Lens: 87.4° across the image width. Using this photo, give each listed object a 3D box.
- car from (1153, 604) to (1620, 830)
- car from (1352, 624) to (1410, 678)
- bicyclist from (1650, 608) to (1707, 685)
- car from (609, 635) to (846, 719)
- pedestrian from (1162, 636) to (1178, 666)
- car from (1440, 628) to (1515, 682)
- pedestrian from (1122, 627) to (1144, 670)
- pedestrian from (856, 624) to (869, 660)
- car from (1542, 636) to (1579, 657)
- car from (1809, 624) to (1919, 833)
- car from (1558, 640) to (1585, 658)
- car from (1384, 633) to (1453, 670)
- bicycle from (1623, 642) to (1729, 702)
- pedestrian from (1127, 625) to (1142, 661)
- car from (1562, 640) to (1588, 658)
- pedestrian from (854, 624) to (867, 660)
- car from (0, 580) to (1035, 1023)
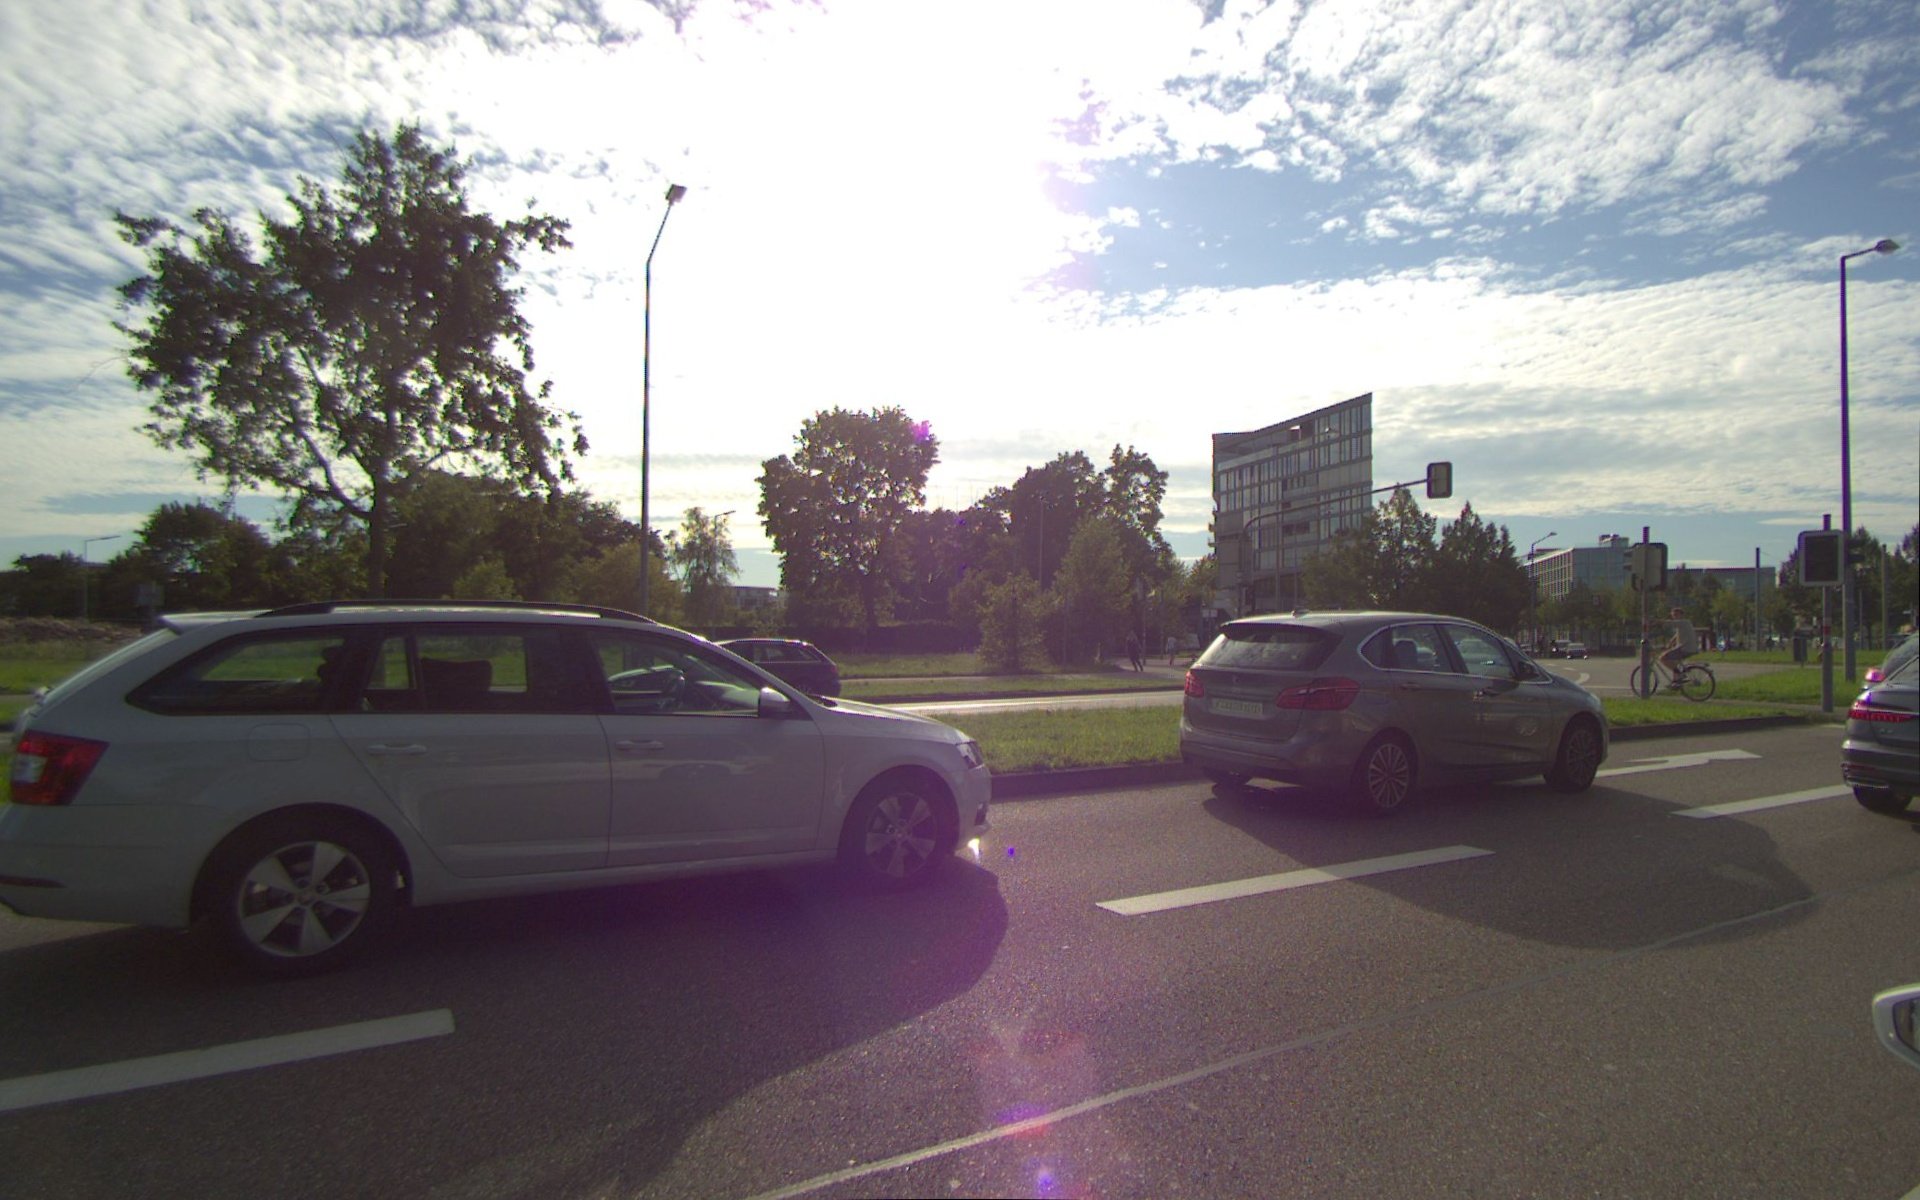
[{"bbox_3d":[3.782,0.872,8.771,3.971,1.579,1.721,2,-1,-30],"label":"car"},{"bbox_3d":[14.881,1.775,35.658,1.678,1.793,4.000,0,-2,20],"label":"car"},{"bbox_3d":[14.832,0.948,20.737,0.840,1.546,0.736,-2,-3,44],"label":"bicyclist"},{"bbox_3d":[-4.550,1.477,19.761,4.180,1.452,1.899,1,-4,-32],"label":"car"},{"bbox_3d":[11.187,2.712,53.473,0.607,1.589,0.653,1,-2,-23],"label":"pedestrian"},{"bbox_3d":[16.380,1.722,31.693,1.682,1.594,3.990,-3,-3,32],"label":"car"},{"bbox_3d":[6.731,1.880,39.020,0.582,1.602,0.579,5,2,33],"label":"pedestrian"},{"bbox_3d":[-5.543,2.370,57.314,0.723,2.040,0.739,0,-2,-6],"label":"pedestrian"},{"bbox_3d":[47.597,3.648,79.617,1.767,1.595,3.978,-2,-3,42],"label":"car"},{"bbox_3d":[9.074,1.005,8.209,4.559,1.502,1.881,2,-1,-31],"label":"car"},{"bbox_3d":[58.421,4.662,95.950,1.680,1.713,3.998,-1,-2,24],"label":"car"},{"bbox_3d":[21.009,2.376,46.192,1.562,1.613,3.502,-1,-3,1],"label":"car"},{"bbox_3d":[14.778,1.466,20.772,1.707,1.179,0.652,-1,-2,45],"label":"bicycle"},{"bbox_3d":[10.178,2.516,58.711,0.863,2.040,0.936,0,-2,8],"label":"pedestrian"},{"bbox_3d":[52.959,4.196,86.460,1.572,1.433,3.656,-1,-4,38],"label":"car"},{"bbox_3d":[-5.588,2.357,56.431,0.675,2.040,0.641,0,-2,-5],"label":"pedestrian"},{"bbox_3d":[-1.914,0.759,5.246,4.429,1.518,1.690,2,-1,-31],"label":"car"}]
